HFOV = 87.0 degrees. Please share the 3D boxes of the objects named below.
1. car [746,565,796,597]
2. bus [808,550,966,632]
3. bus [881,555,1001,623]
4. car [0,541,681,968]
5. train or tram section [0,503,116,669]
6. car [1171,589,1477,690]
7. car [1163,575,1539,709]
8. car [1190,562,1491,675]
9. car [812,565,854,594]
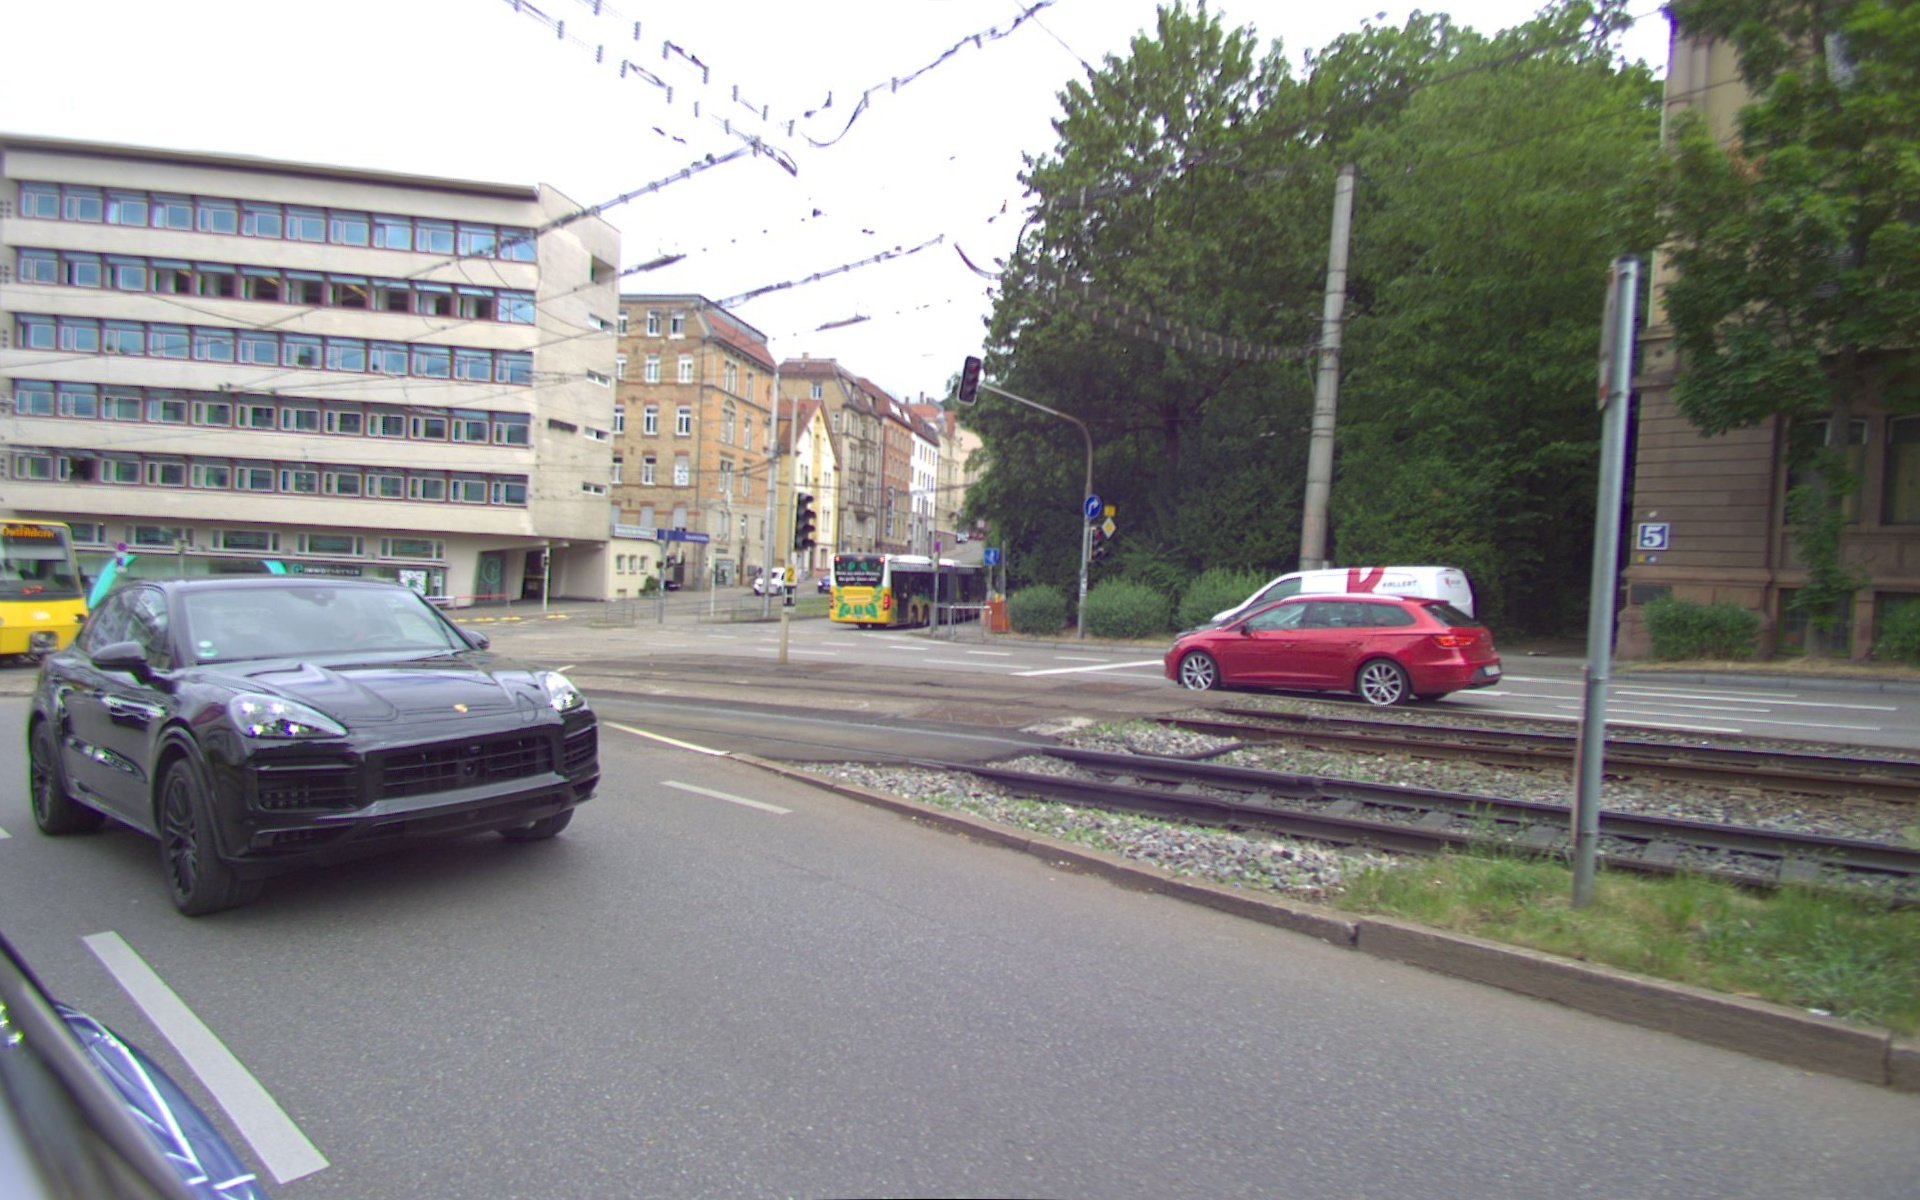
[{"bbox_3d":[-13.305,-1.286,71.576,1.980,2.029,3.984,-4,-1,12],"label":"car"},{"bbox_3d":[-2.769,-0.398,43.713,3.358,3.052,11.496,-1,1,14],"label":"bus"},{"bbox_3d":[-0.670,-0.569,51.932,3.292,3.066,11.311,-1,1,14],"label":"bus"},{"bbox_3d":[-4.057,0.550,6.260,4.774,1.697,2.009,1,2,37],"label":"car"},{"bbox_3d":[-28.047,-0.280,25.162,14.331,3.691,2.879,0,0,13],"label":"train or tram section"},{"bbox_3d":[5.806,0.535,16.527,1.722,1.437,4.409,-1,1,-45],"label":"car"},{"bbox_3d":[5.203,0.487,13.869,1.971,1.530,4.408,0,0,-45],"label":"car"},{"bbox_3d":[7.078,0.274,19.232,1.971,1.863,4.996,-2,2,-45],"label":"car"},{"bbox_3d":[-9.445,-1.568,75.788,1.978,2.028,3.988,-1,3,10],"label":"car"}]
